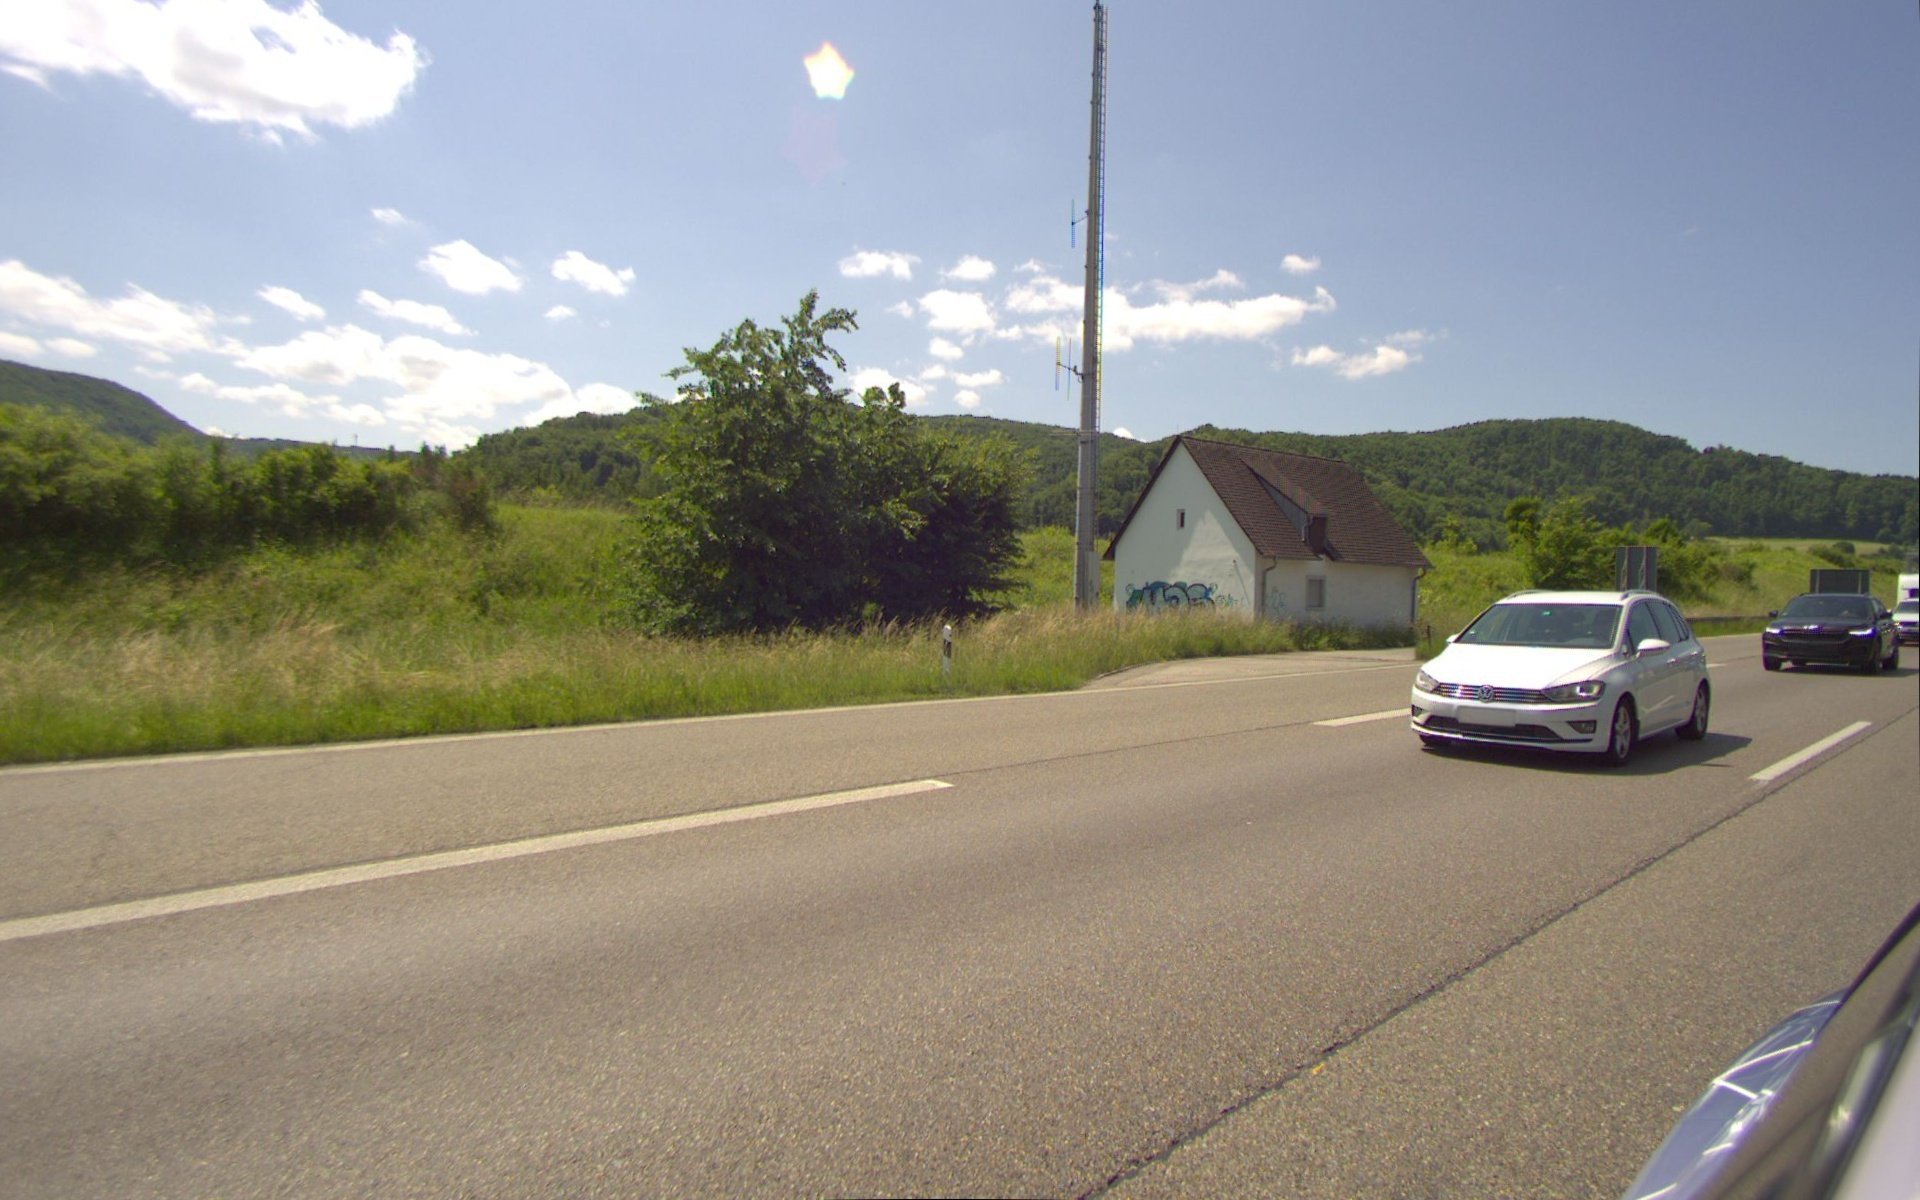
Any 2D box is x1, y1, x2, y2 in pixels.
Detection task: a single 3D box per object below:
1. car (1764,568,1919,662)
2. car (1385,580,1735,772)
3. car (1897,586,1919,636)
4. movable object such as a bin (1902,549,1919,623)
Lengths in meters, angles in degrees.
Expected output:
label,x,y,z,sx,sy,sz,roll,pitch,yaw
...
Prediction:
label,x,y,z,sx,sy,sz,roll,pitch,yaw
car,18.769,0.265,21.441,4.097,1.794,1.893,0,1,-40
car,6.127,0.600,10.169,3.981,1.560,1.777,0,1,-39
car,32.701,0.347,33.663,3.929,1.603,1.820,0,1,-40
movable object such as a bin,37.724,-0.520,38.161,6.590,2.665,2.480,0,1,-40
